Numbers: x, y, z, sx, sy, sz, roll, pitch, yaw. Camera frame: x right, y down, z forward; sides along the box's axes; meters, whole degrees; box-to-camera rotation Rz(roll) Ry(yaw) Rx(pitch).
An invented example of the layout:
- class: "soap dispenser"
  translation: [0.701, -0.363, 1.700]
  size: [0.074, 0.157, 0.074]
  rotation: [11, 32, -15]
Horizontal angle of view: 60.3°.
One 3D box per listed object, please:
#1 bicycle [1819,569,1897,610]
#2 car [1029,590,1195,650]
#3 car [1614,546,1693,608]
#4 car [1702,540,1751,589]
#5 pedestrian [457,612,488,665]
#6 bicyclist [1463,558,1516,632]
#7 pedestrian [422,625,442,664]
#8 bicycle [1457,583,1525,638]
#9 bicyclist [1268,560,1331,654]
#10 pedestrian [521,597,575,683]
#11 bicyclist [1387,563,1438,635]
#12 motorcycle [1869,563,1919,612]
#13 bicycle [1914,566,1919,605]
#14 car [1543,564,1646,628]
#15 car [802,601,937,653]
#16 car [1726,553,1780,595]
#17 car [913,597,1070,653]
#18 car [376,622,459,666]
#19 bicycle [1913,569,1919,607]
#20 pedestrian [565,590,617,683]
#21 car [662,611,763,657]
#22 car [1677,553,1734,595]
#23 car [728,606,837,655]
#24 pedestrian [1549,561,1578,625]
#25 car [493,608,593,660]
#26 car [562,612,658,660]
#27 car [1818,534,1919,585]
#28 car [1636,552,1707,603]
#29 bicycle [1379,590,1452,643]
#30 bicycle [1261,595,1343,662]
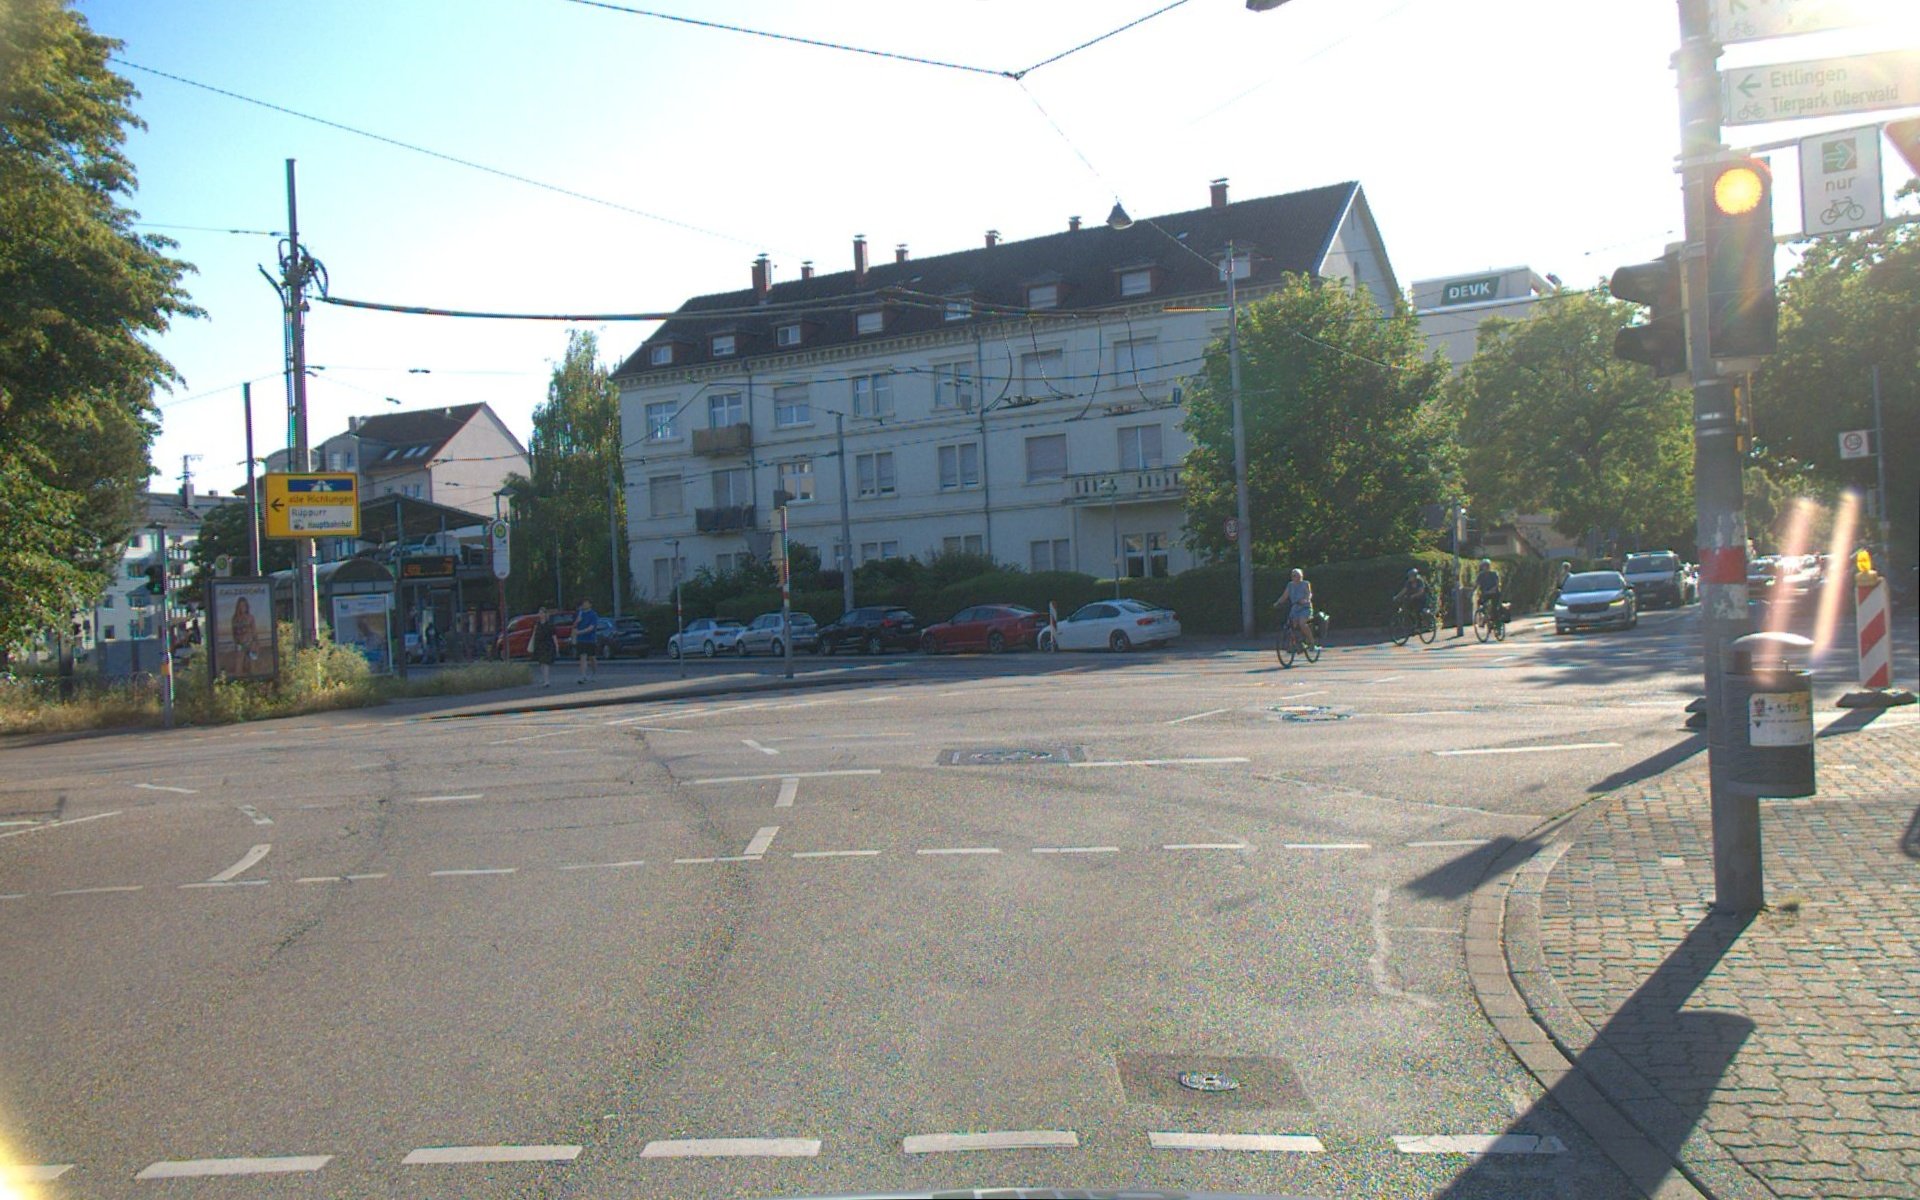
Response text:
- class: "bicycle"
  translation: [22.770, -0.259, 41.978]
  size: [1.690, 0.949, 0.671]
  rotation: [-3, 0, 29]
- class: "car"
  translation: [4.195, 0.588, 46.176]
  size: [1.916, 1.400, 4.426]
  rotation: [-6, 2, -43]
- class: "car"
  translation: [25.344, -0.862, 60.332]
  size: [2.308, 2.049, 5.305]
  rotation: [-3, 0, 26]
- class: "car"
  translation: [43.108, -2.015, 92.941]
  size: [2.308, 2.558, 5.305]
  rotation: [-3, 0, 26]
- class: "pedestrian"
  translation: [-19.206, 1.498, 65.183]
  size: [0.914, 2.048, 0.759]
  rotation: [-2, 1, -37]
- class: "bicyclist"
  translation: [11.460, -0.113, 35.805]
  size: [0.685, 1.558, 1.032]
  rotation: [-3, 0, 41]
- class: "pedestrian"
  translation: [-21.091, 1.779, 66.087]
  size: [0.560, 1.527, 0.672]
  rotation: [-3, 0, -29]
- class: "bicycle"
  translation: [11.515, 0.218, 35.825]
  size: [0.651, 1.087, 2.008]
  rotation: [-3, 0, 40]
- class: "bicyclist"
  translation: [6.095, 0.126, 29.670]
  size: [0.761, 1.633, 0.855]
  rotation: [-3, 0, 35]
- class: "pedestrian"
  translation: [-8.853, 0.854, 35.538]
  size: [0.894, 1.777, 1.066]
  rotation: [-3, 0, -6]
- class: "bicyclist"
  translation: [10.165, -0.026, 37.144]
  size: [0.649, 1.558, 1.030]
  rotation: [-3, 0, 44]
- class: "motorcycle"
  translation: [22.931, -0.325, 39.589]
  size: [1.912, 1.128, 0.837]
  rotation: [-3, 0, 24]
- class: "bicycle"
  translation: [24.369, -0.394, 40.500]
  size: [1.691, 0.949, 0.561]
  rotation: [-3, 0, 29]
- class: "car"
  translation: [15.905, -0.092, 41.354]
  size: [1.855, 1.512, 3.993]
  rotation: [1, 0, 29]
- class: "car"
  translation: [-3.035, 0.906, 54.567]
  size: [1.970, 1.472, 4.634]
  rotation: [-6, 2, -41]
- class: "car"
  translation: [32.574, -1.077, 67.958]
  size: [1.856, 1.591, 4.389]
  rotation: [-3, 0, 26]
- class: "car"
  translation: [0.910, 0.764, 50.119]
  size: [4.625, 1.400, 1.974]
  rotation: [-3, 2, 44]
- class: "car"
  translation: [-27.196, 2.221, 82.780]
  size: [2.039, 1.995, 5.073]
  rotation: [-6, 2, -41]
- class: "bicycle"
  translation: [24.729, -0.340, 41.178]
  size: [1.691, 0.949, 0.561]
  rotation: [-3, 0, 29]
- class: "pedestrian"
  translation: [-8.050, 0.787, 36.130]
  size: [0.894, 1.958, 1.066]
  rotation: [-3, 0, -6]
- class: "car"
  translation: [-9.179, 1.266, 61.208]
  size: [1.830, 1.472, 3.899]
  rotation: [-6, 2, -41]
- class: "car"
  translation: [35.638, -1.235, 78.969]
  size: [2.308, 1.826, 5.305]
  rotation: [-3, 0, 26]
- class: "car"
  translation: [-6.215, 1.079, 57.762]
  size: [1.970, 1.472, 3.663]
  rotation: [-6, 2, -41]
- class: "pedestrian"
  translation: [18.127, -0.222, 49.676]
  size: [0.648, 1.871, 0.682]
  rotation: [-3, 0, 28]
- class: "car"
  translation: [-18.167, 1.511, 71.945]
  size: [2.039, 1.995, 5.073]
  rotation: [-6, 2, -41]
- class: "car"
  translation: [-14.197, 1.470, 66.965]
  size: [1.830, 1.696, 4.304]
  rotation: [-6, 2, -41]
- class: "car"
  translation: [40.812, -1.813, 73.117]
  size: [4.990, 1.958, 2.360]
  rotation: [-3, -2, 26]
- class: "car"
  translation: [28.345, -0.909, 65.757]
  size: [2.308, 1.826, 5.305]
  rotation: [-3, 0, 26]
- class: "bicycle"
  translation: [10.252, 0.364, 37.205]
  size: [0.652, 1.087, 2.005]
  rotation: [-3, 0, 44]
- class: "bicycle"
  translation: [6.141, 0.492, 29.612]
  size: [0.650, 1.087, 2.012]
  rotation: [-3, 0, 35]
